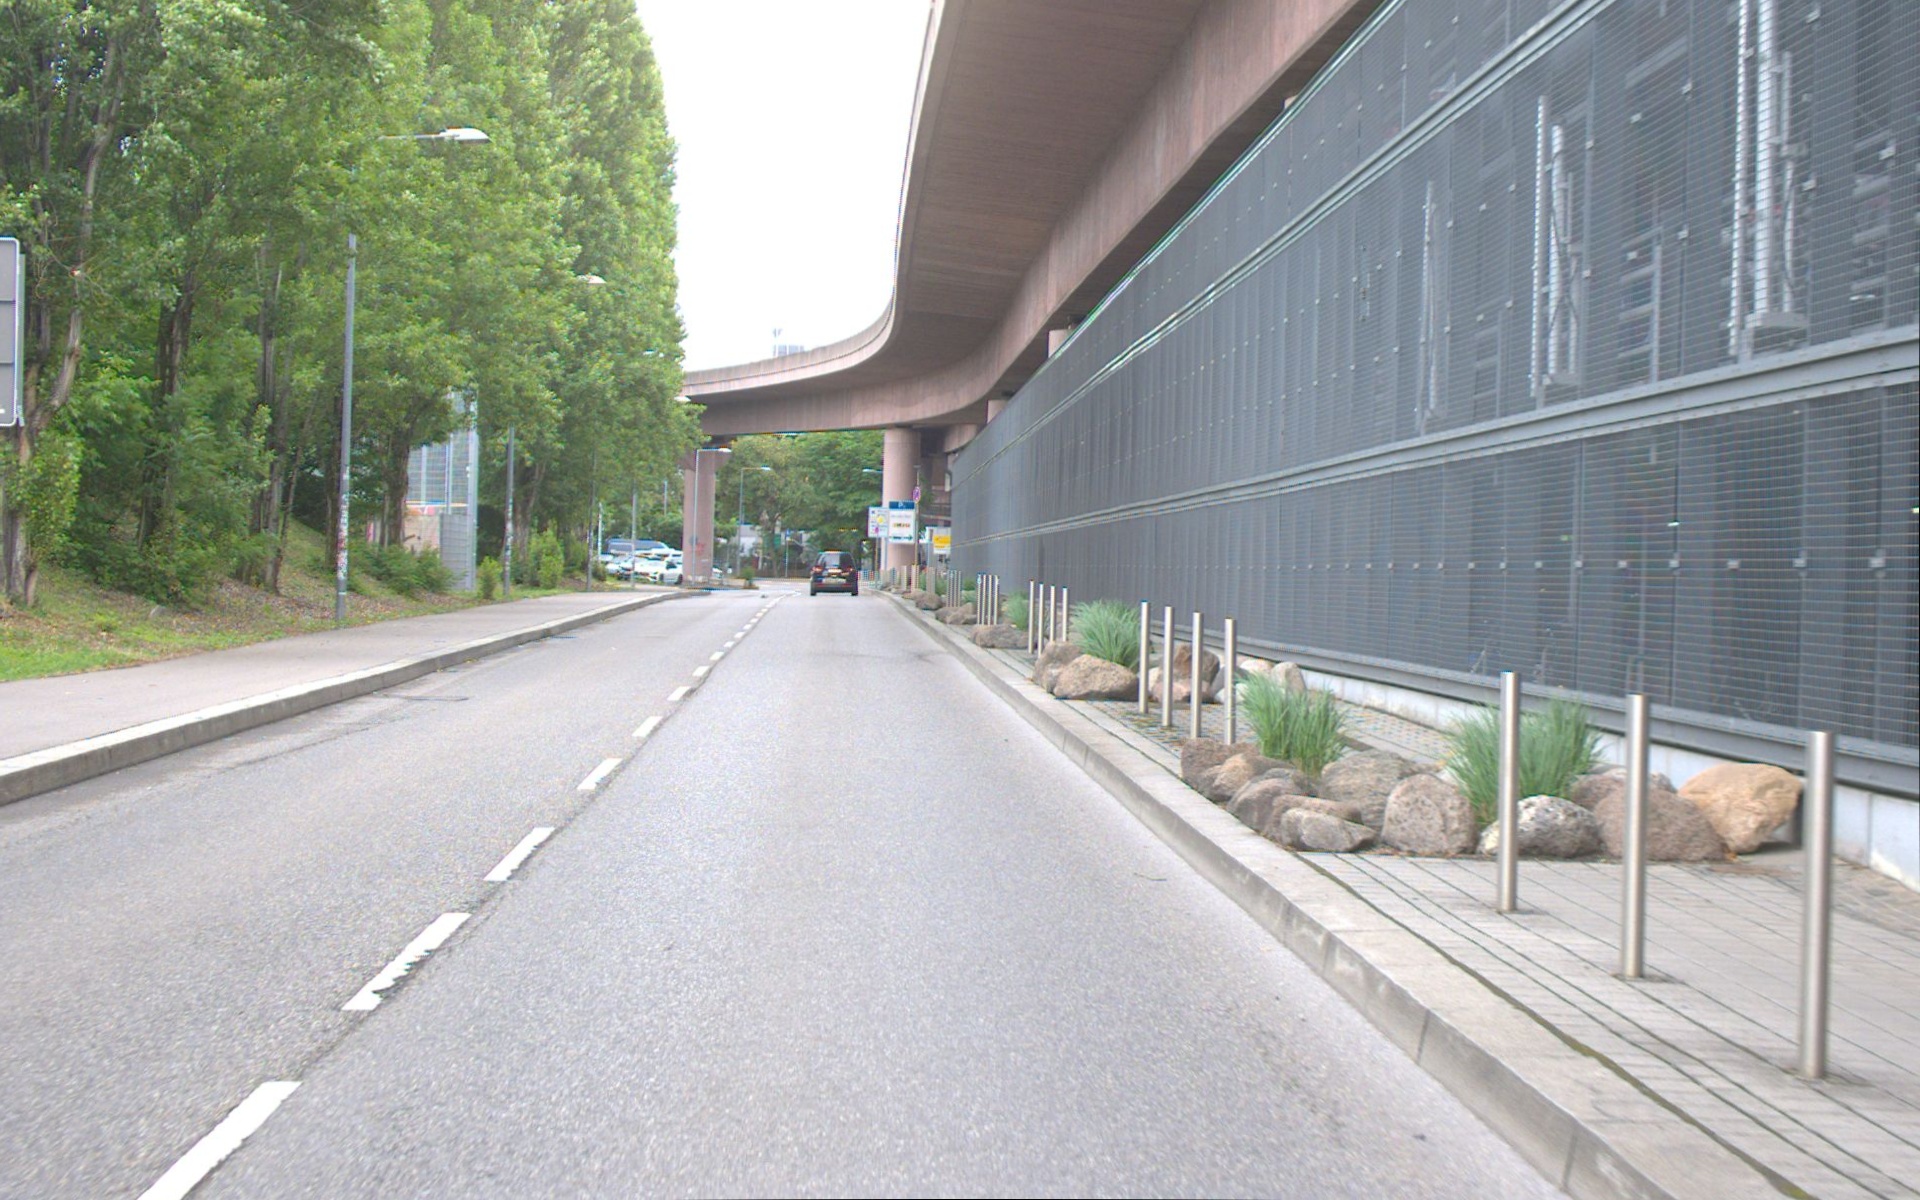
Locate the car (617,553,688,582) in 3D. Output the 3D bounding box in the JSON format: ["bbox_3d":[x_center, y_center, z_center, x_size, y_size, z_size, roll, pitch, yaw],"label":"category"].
[{"bbox_3d":[-18.441,-1.963,206.518,1.884,1.711,4.144,3,2,39],"label":"car"}]

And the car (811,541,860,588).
[{"bbox_3d":[-4.830,-1.376,133.567,1.839,1.705,3.706,1,2,-2],"label":"car"}]

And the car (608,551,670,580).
[{"bbox_3d":[-19.691,-2.150,210.918,1.724,1.711,3.664,3,2,39],"label":"car"}]

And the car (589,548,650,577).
[{"bbox_3d":[-21.235,-2.340,214.436,1.724,1.711,3.664,3,2,39],"label":"car"}]
